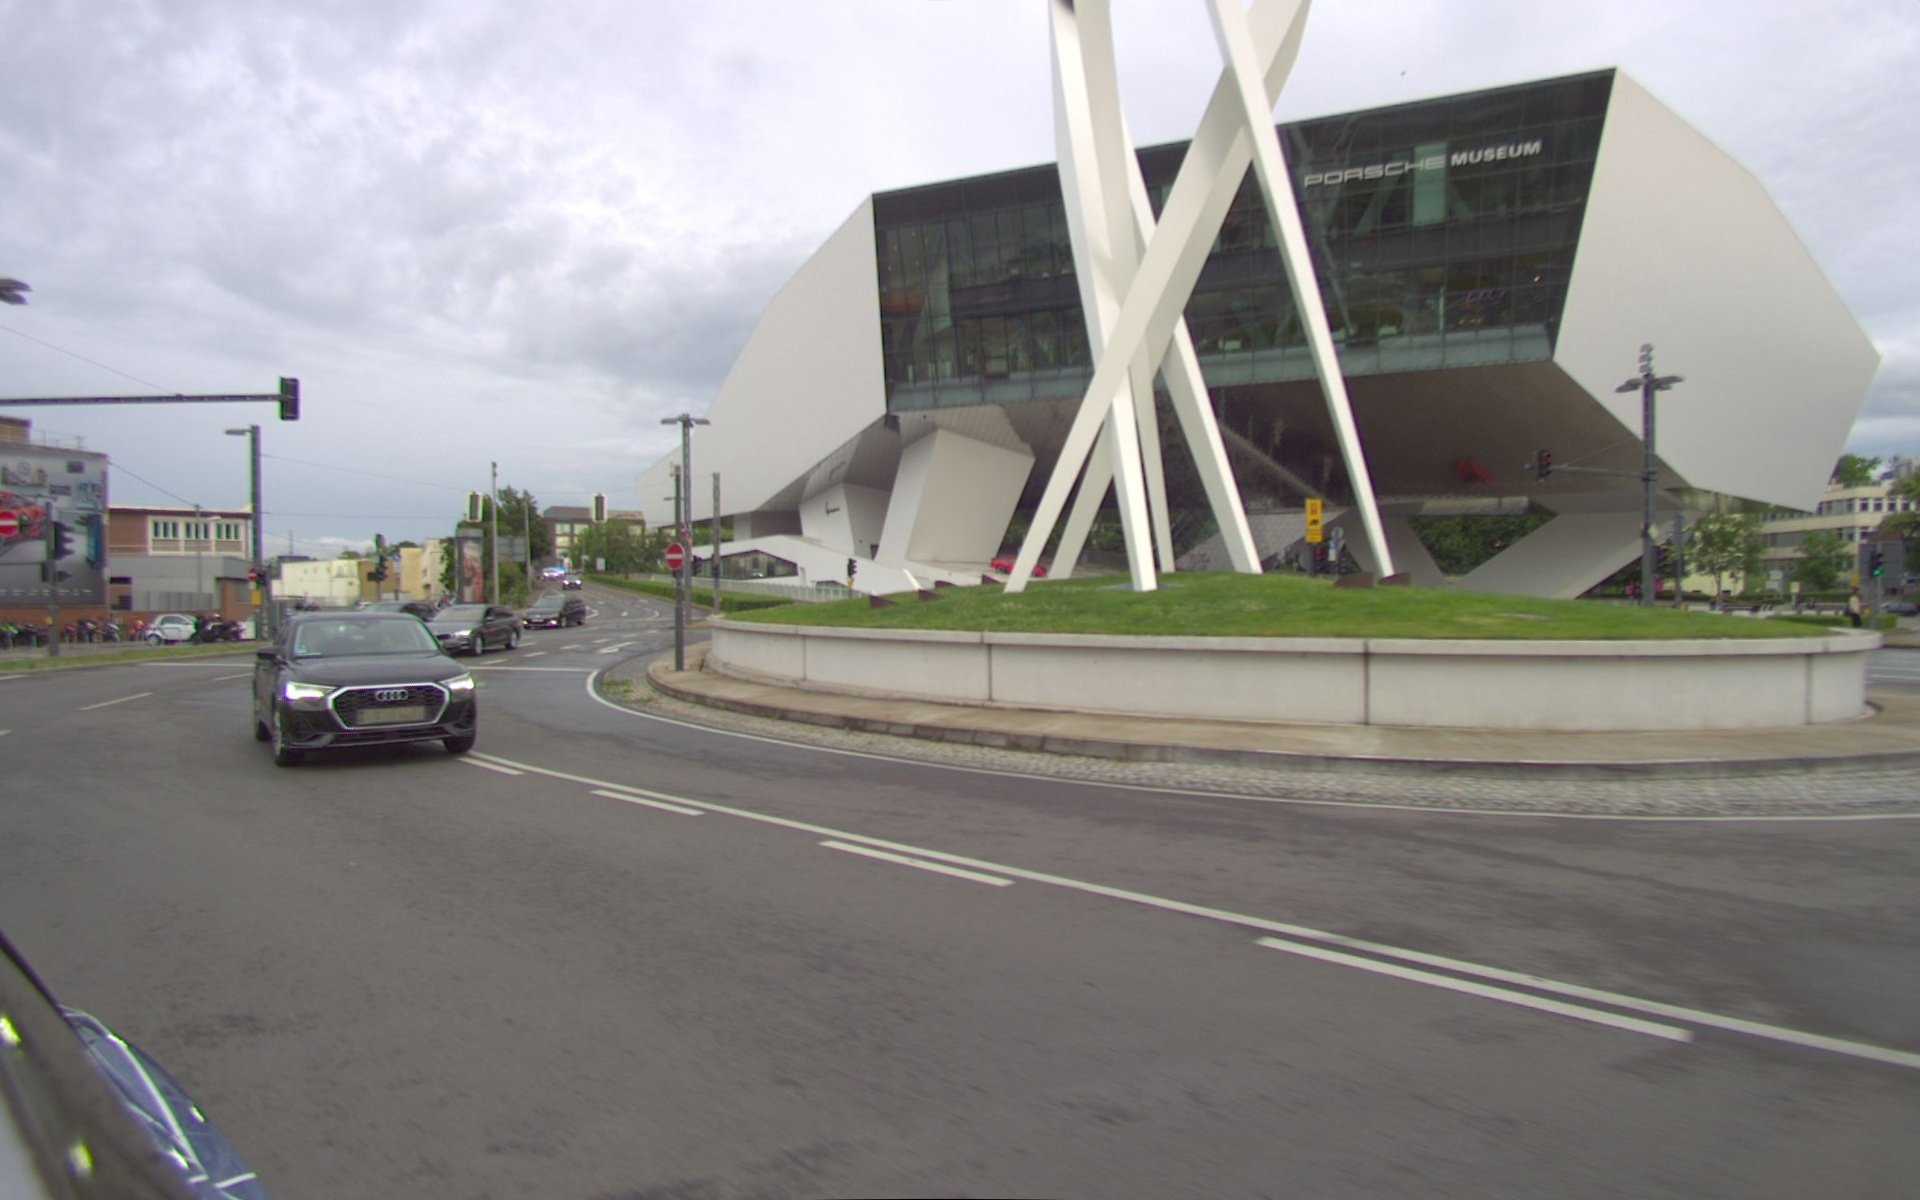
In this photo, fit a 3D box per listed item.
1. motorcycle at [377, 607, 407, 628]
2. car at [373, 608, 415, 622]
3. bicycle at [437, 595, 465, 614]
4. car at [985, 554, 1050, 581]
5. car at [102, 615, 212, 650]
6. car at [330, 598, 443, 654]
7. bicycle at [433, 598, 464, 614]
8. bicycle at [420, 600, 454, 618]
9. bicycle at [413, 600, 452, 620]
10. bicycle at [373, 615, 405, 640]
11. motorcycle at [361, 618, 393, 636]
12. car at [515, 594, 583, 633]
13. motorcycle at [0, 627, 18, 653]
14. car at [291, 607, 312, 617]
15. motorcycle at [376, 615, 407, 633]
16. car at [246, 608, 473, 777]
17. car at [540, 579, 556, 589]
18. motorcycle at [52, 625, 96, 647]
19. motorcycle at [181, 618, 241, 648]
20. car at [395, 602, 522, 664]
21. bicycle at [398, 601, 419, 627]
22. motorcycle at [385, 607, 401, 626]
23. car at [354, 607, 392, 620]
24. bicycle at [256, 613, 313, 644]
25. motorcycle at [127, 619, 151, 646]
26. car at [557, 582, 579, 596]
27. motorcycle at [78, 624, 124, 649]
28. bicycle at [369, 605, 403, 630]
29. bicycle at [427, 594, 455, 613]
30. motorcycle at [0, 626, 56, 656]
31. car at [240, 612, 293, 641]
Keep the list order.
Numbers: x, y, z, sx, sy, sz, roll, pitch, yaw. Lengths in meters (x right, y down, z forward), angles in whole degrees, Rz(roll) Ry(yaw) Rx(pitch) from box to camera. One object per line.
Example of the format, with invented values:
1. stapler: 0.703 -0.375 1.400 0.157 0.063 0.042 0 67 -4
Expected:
1. motorcycle: -28.549 0.874 50.874 0.540 0.902 1.745 -1 3 0
2. car: -65.767 1.731 117.616 3.935 1.436 1.724 -2 1 -37
3. bicycle: -30.429 0.274 60.513 0.442 1.081 1.444 3 3 36
4. car: 4.178 -2.352 73.281 4.216 1.394 1.987 8 4 20
5. car: -39.937 1.601 50.410 3.933 1.500 1.572 -2 1 -14
6. car: -18.782 0.807 33.344 1.669 1.518 4.016 -2 2 -5
7. bicycle: -30.809 0.362 61.012 0.484 0.928 1.687 1 2 31
8. bicycle: -28.445 0.464 55.079 1.590 0.928 0.422 -1 1 -11
9. bicycle: -27.398 0.528 52.612 1.716 0.969 0.423 -1 3 -15
10. bicycle: -27.734 1.315 49.176 0.344 1.092 1.739 0 3 10
11. motorcycle: -33.636 1.567 58.404 1.589 0.928 0.484 -3 3 -30
12. car: -18.711 0.596 46.241 1.723 1.485 4.074 -2 3 -5
13. motorcycle: -43.867 1.804 46.186 1.795 1.128 0.474 -1 3 19
14. car: -98.057 1.736 150.771 4.000 1.436 1.697 -1 1 43
15. motorcycle: -34.954 1.466 62.233 1.591 0.928 0.422 -4 4 -38
16. car: -6.963 0.884 11.506 1.729 1.530 4.404 1 -1 -37
17. car: -63.719 -2.464 156.403 1.787 1.449 4.315 -1 0 -29
18. motorcycle: -44.025 1.770 50.305 1.591 0.980 0.542 -2 3 -7
19. motorcycle: -31.368 1.369 42.379 2.064 1.154 0.489 -2 3 -2
20. car: -14.902 0.926 30.352 1.792 1.449 4.305 -2 3 -2
21. bicycle: -27.836 0.675 51.088 0.394 1.183 2.021 -1 3 -14
22. motorcycle: -29.232 0.839 52.216 0.427 0.897 1.268 -1 3 -16
23. car: -74.279 1.707 128.091 3.935 1.436 1.724 -2 1 -37
24. bicycle: -28.689 1.189 43.023 0.419 1.138 2.058 0 3 23
25. motorcycle: -44.130 1.727 54.428 0.515 1.343 1.675 -3 3 -23
26. car: -43.956 -1.249 113.455 1.787 1.449 4.315 -1 0 -29
27. motorcycle: -43.955 1.849 51.801 1.694 1.160 0.586 -2 3 -7
28. bicycle: -27.389 0.834 48.334 0.344 1.092 1.739 0 3 10
29. bicycle: -31.684 0.205 61.814 1.518 1.163 0.453 0 2 -28
30. motorcycle: -40.510 1.768 43.949 0.539 1.119 1.858 -1 3 13
31. car: -42.704 1.592 62.412 1.857 1.562 4.523 -2 1 -24
